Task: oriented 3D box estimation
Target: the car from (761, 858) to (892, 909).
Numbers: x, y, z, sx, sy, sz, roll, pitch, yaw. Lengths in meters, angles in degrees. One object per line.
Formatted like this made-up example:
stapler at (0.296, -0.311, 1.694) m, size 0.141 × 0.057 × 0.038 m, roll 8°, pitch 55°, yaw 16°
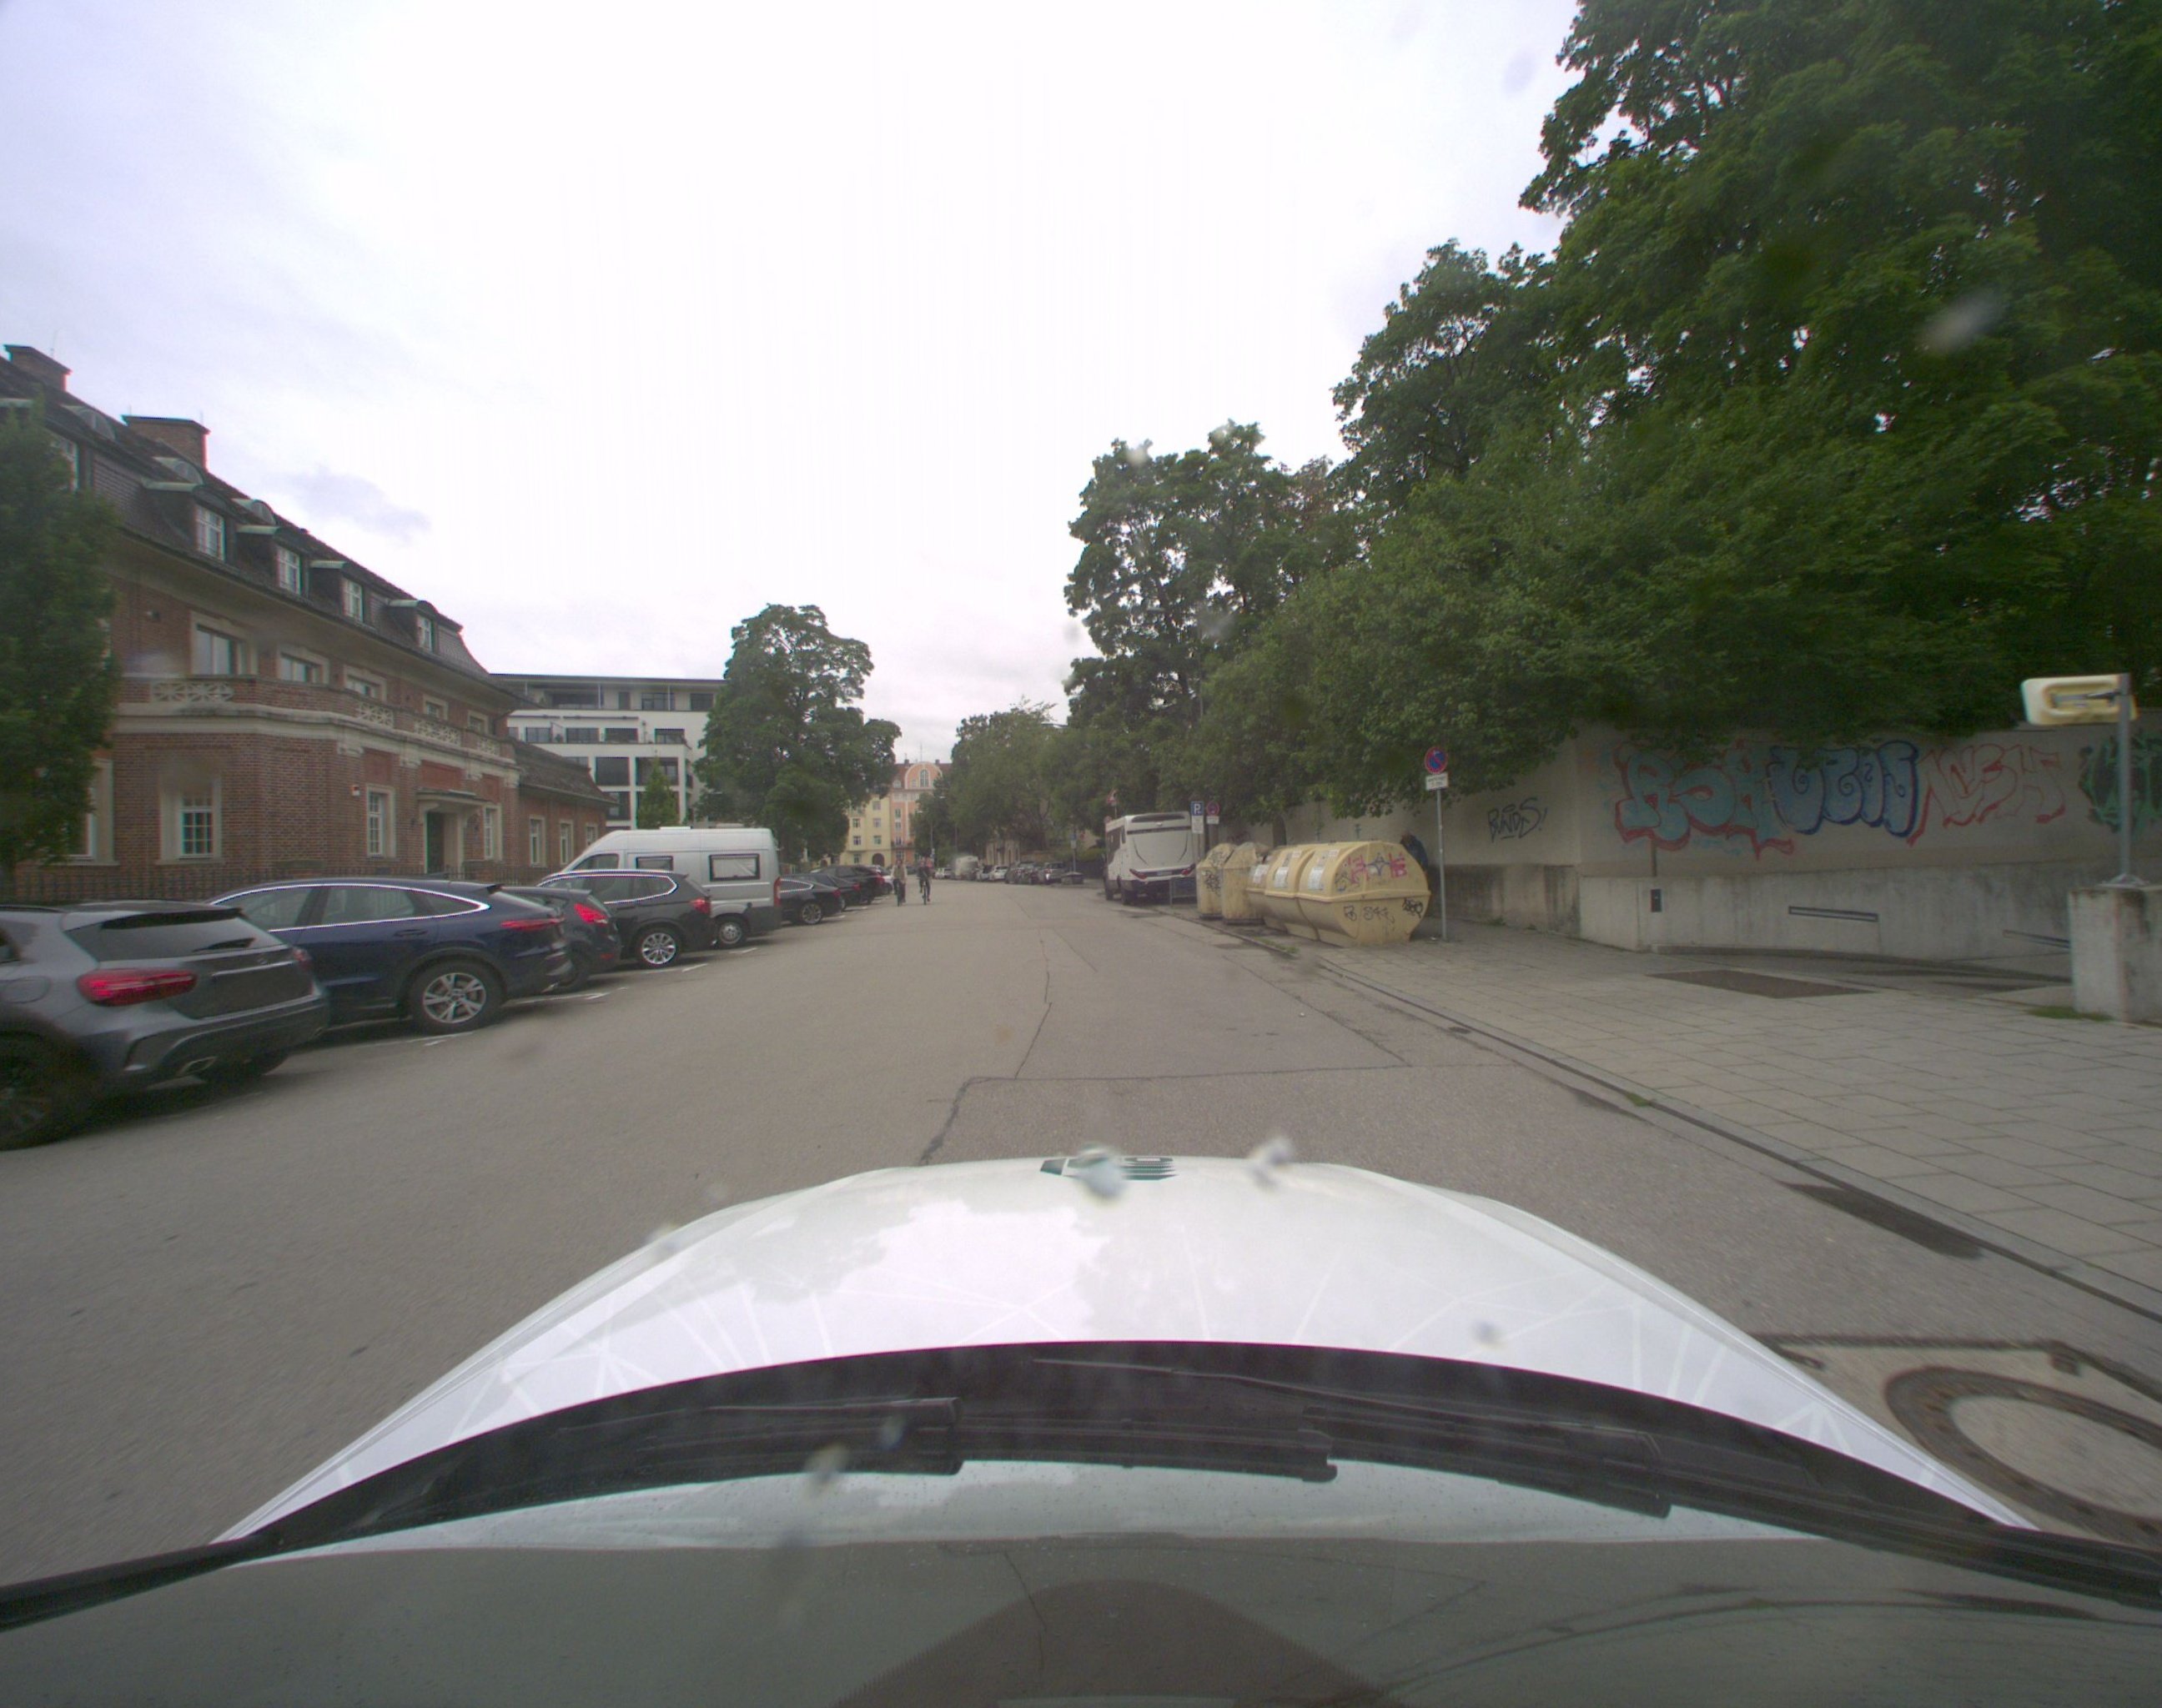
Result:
car at (-10.151, 1.149, 32.644) m, size 4.548 × 1.665 × 1.965 m, roll -3°, pitch -1°, yaw -37°

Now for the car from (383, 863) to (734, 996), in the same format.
car at (-8.379, 1.130, 13.541) m, size 4.541 × 1.625 × 1.948 m, roll -3°, pitch -1°, yaw -30°

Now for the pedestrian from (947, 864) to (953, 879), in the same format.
pedestrian at (-18.750, 2.512, 116.421) m, size 0.776 × 2.014 × 0.558 m, roll -2°, pitch -1°, yaw -21°

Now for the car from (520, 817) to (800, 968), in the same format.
car at (-8.412, 0.656, 16.567) m, size 4.652 × 2.563 × 2.212 m, roll -3°, pitch 0°, yaw -30°

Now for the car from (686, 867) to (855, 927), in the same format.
car at (-9.609, 1.281, 25.353) m, size 4.548 × 1.451 × 1.800 m, roll -4°, pitch 0°, yaw -37°

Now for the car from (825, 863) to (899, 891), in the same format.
car at (-15.017, 1.554, 55.975) m, size 2.109 × 1.699 × 4.440 m, roll -4°, pitch -1°, yaw 41°

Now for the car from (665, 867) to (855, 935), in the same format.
car at (-8.870, 1.240, 22.615) m, size 4.546 × 1.451 × 1.956 m, roll -3°, pitch 0°, yaw -34°

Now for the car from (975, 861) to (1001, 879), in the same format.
car at (-8.863, 1.566, 77.624) m, size 1.711 × 1.537 × 4.216 m, roll -4°, pitch 0°, yaw -16°

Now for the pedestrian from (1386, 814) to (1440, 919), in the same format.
pedestrian at (6.506, 0.246, 15.980) m, size 0.627 × 1.985 × 0.797 m, roll -2°, pitch -1°, yaw -5°

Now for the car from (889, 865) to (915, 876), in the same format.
car at (-33.828, 3.193, 153.974) m, size 4.717 × 1.881 × 1.828 m, roll -2°, pitch -1°, yaw -19°

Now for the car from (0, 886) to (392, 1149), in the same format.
car at (-7.905, 1.097, 5.652) m, size 4.332 × 1.530 × 1.927 m, roll -2°, pitch -2°, yaw -10°

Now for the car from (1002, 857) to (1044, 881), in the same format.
car at (-4.594, 1.159, 63.618) m, size 2.000 × 1.711 × 4.852 m, roll -4°, pitch 0°, yaw -19°

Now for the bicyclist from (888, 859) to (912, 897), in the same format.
bicyclist at (-6.852, 0.885, 30.849) m, size 0.695 × 1.397 × 0.928 m, roll -2°, pitch 0°, yaw -6°

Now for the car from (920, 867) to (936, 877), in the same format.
car at (-23.639, 2.743, 125.716) m, size 1.675 × 1.344 × 3.812 m, roll -3°, pitch 1°, yaw -19°

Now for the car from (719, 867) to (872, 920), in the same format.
car at (-9.775, 1.309, 28.014) m, size 4.548 × 1.418 × 1.906 m, roll -4°, pitch 0°, yaw -37°

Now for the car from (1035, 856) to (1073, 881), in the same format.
car at (-1.868, 1.028, 55.322) m, size 1.745 × 1.536 × 2.927 m, roll -4°, pitch -1°, yaw -19°

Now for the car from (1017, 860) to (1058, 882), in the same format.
car at (-3.201, 1.227, 59.214) m, size 1.883 × 1.427 × 4.194 m, roll -4°, pitch 0°, yaw -19°

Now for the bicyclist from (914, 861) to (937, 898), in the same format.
bicyclist at (-5.899, 0.966, 30.971) m, size 0.695 × 1.352 × 0.929 m, roll -2°, pitch 0°, yaw -5°

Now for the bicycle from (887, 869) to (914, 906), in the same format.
bicycle at (-6.829, 1.248, 30.866) m, size 0.706 × 1.305 × 2.114 m, roll -2°, pitch 0°, yaw -5°

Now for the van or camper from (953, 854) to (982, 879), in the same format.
van or camper at (-12.523, 1.356, 89.675) m, size 2.198 × 2.550 × 5.694 m, roll -4°, pitch 0°, yaw -17°

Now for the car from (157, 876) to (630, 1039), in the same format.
car at (-8.546, 1.197, 10.769) m, size 4.435 × 1.486 × 1.816 m, roll -3°, pitch -1°, yaw -29°

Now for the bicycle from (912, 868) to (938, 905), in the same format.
bicycle at (-5.882, 1.210, 30.835) m, size 0.705 × 1.305 × 2.114 m, roll -2°, pitch 0°, yaw -5°

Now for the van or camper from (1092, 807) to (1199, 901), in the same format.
van or camper at (2.105, 0.025, 29.363) m, size 2.271 × 2.906 × 7.256 m, roll -2°, pitch 0°, yaw -8°

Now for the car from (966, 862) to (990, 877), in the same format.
car at (-10.546, 1.568, 83.136) m, size 1.711 × 1.369 × 4.415 m, roll -3°, pitch 0°, yaw -16°

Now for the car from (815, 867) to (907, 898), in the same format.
car at (-12.193, 1.551, 45.239) m, size 4.541 × 1.451 × 1.874 m, roll -3°, pitch -1°, yaw -41°

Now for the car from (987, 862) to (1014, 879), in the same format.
car at (-7.213, 1.499, 72.785) m, size 1.689 × 1.441 × 3.978 m, roll -3°, pitch -1°, yaw -16°

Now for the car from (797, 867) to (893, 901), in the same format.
car at (-12.084, 1.519, 41.866) m, size 4.417 × 1.451 × 1.638 m, roll -3°, pitch 0°, yaw -38°

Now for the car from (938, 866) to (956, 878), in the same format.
car at (-17.696, 2.377, 107.161) m, size 1.712 × 1.408 × 4.105 m, roll -3°, pitch 0°, yaw -18°

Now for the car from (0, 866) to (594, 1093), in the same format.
car at (-7.749, 1.084, 8.416) m, size 4.541 × 1.594 × 1.946 m, roll -4°, pitch 0°, yaw -30°
